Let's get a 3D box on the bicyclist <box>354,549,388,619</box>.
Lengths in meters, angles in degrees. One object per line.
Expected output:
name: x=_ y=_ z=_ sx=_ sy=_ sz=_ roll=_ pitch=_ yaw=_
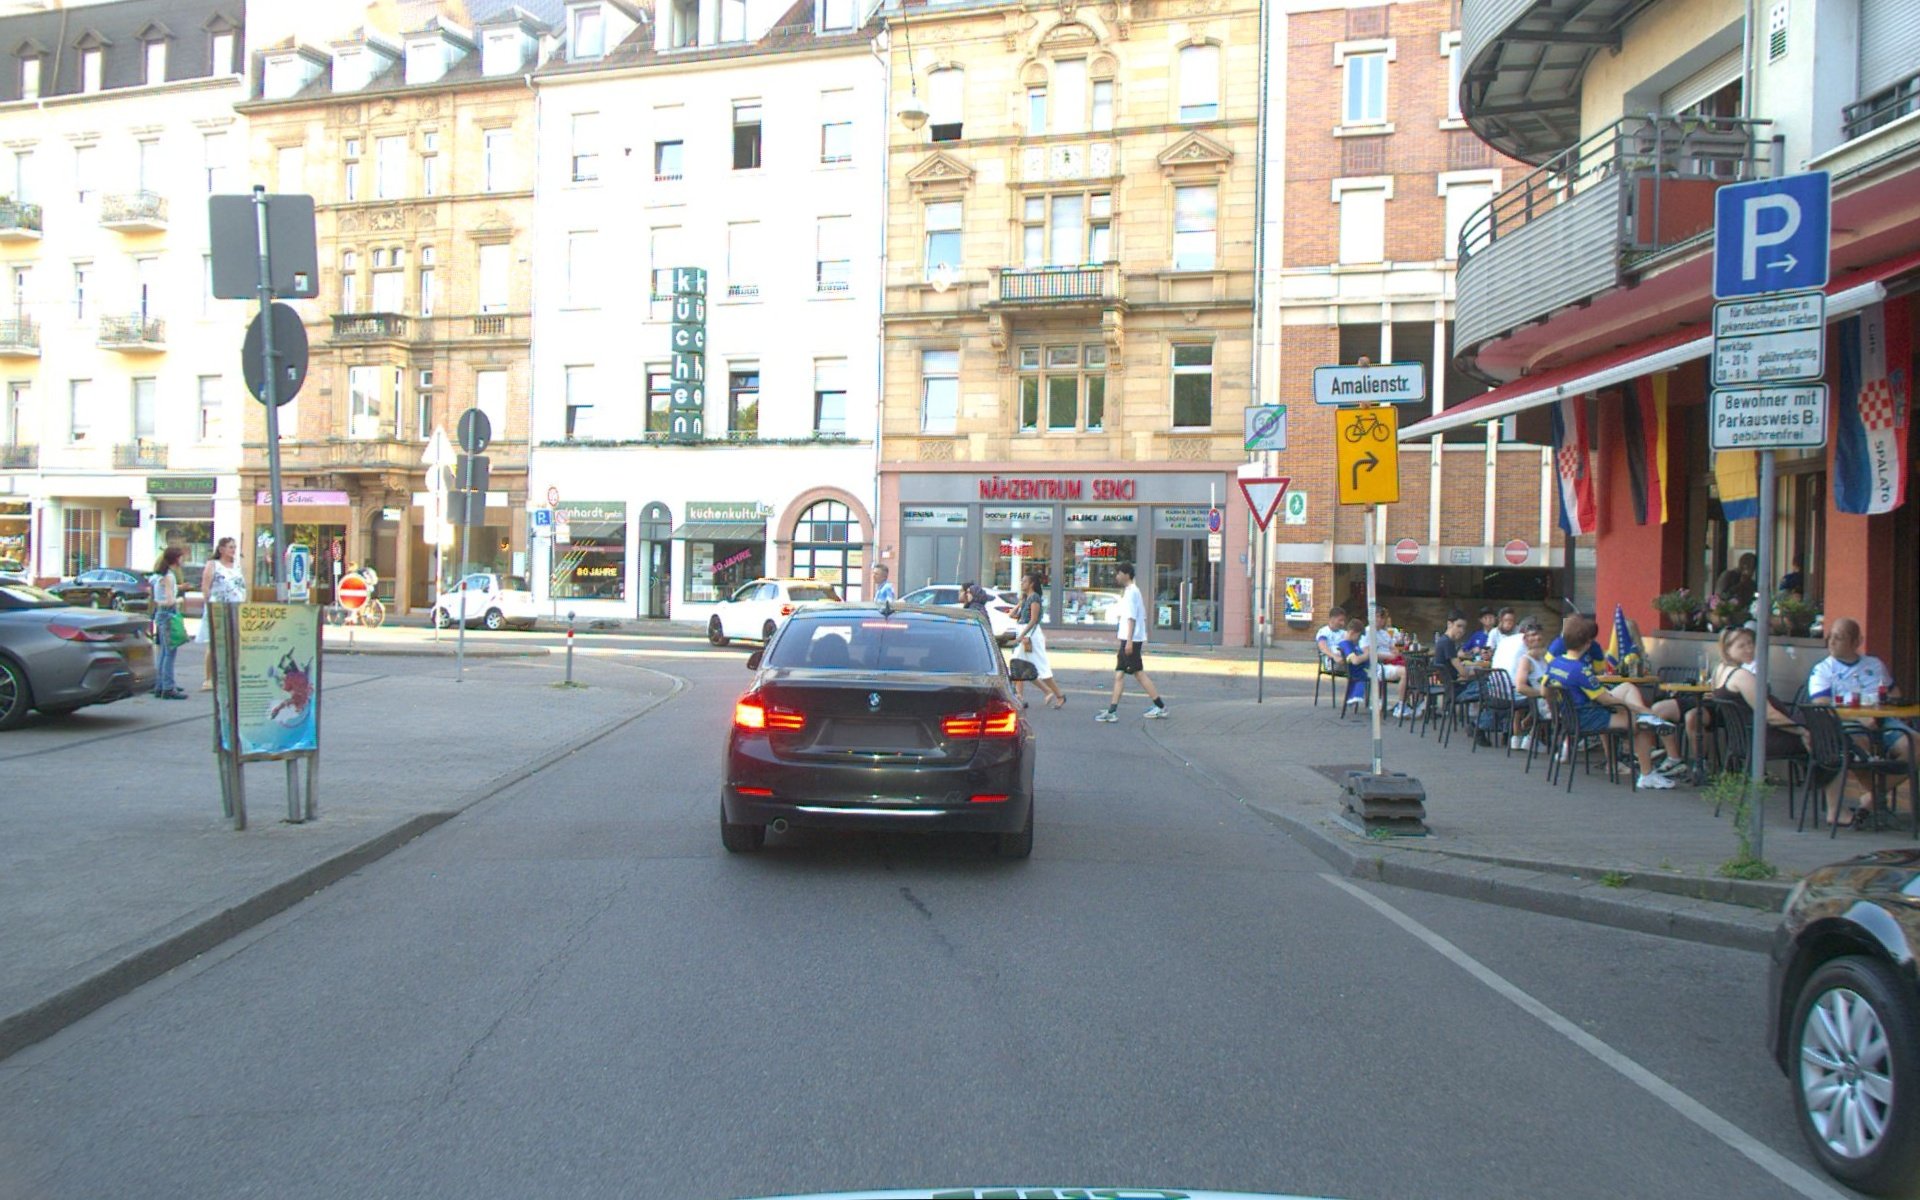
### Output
bicyclist: x=-15.356 y=-0.415 z=43.154 sx=0.604 sy=1.787 sz=0.526 roll=2 pitch=0 yaw=11

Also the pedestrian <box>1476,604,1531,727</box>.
pedestrian: x=5.892 y=0.700 z=17.948 sx=0.479 sy=1.299 sz=0.522 roll=1 pitch=0 yaw=11

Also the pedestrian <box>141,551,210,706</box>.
pedestrian: x=-8.607 y=0.306 z=18.156 sx=0.490 sy=1.672 sz=0.520 roll=1 pitch=0 yaw=-1

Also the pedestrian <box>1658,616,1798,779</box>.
pedestrian: x=6.219 y=0.774 z=13.426 sx=0.763 sy=1.244 sz=0.714 roll=-2 pitch=0 yaw=-3

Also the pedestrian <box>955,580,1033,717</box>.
pedestrian: x=0.388 y=0.561 z=19.310 sx=0.722 sy=1.540 sz=0.648 roll=3 pitch=0 yaw=-11

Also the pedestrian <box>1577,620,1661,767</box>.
pedestrian: x=5.672 y=0.790 z=14.243 sx=0.528 sy=1.222 sz=0.415 roll=-1 pitch=0 yaw=45

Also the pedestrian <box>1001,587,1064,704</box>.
pedestrian: x=0.951 y=0.590 z=21.763 sx=0.798 sy=1.500 sz=0.607 roll=1 pitch=0 yaw=1

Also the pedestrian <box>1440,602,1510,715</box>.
pedestrian: x=6.163 y=0.683 z=19.778 sx=0.606 sy=1.301 sz=0.698 roll=1 pitch=1 yaw=35

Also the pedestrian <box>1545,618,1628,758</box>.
pedestrian: x=5.660 y=0.782 z=14.944 sx=0.415 sy=1.222 sz=0.560 roll=-2 pitch=0 yaw=-44

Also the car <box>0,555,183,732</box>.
car: x=-9.440 y=0.352 z=15.040 sx=3.915 sy=1.527 sz=1.887 roll=1 pitch=1 yaw=-11

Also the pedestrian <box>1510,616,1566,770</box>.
pedestrian: x=4.945 y=0.787 z=14.144 sx=0.337 sy=1.279 sz=0.359 roll=-1 pitch=0 yaw=36

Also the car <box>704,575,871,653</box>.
car: x=-3.664 y=0.247 z=34.582 sx=1.861 sy=1.498 sz=3.954 roll=0 pitch=1 yaw=-34

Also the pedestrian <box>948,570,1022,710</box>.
pedestrian: x=0.295 y=0.471 z=19.977 sx=0.711 sy=1.637 sz=0.648 roll=3 pitch=0 yaw=-11

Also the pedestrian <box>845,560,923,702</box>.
pedestrian: x=-0.975 y=0.391 z=21.297 sx=0.876 sy=1.755 sz=0.608 roll=2 pitch=2 yaw=4

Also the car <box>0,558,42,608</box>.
car: x=-31.532 y=-0.545 z=52.737 sx=3.904 sy=1.537 sz=1.800 roll=1 pitch=0 yaw=20

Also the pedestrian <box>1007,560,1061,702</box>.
pedestrian: x=0.952 y=0.387 z=21.054 sx=0.653 sy=1.776 sz=0.607 roll=1 pitch=0 yaw=3

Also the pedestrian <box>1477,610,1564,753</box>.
pedestrian: x=5.325 y=0.758 z=15.718 sx=0.622 sy=1.298 sz=0.504 roll=-2 pitch=0 yaw=-40

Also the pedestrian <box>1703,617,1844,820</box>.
pedestrian: x=5.407 y=0.769 z=11.022 sx=0.672 sy=1.309 sz=0.609 roll=0 pitch=0 yaw=7

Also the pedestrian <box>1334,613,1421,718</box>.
pedestrian: x=4.843 y=0.747 z=19.212 sx=0.871 sy=1.170 sz=0.619 roll=1 pitch=0 yaw=5

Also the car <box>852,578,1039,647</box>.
car: x=-0.357 y=0.299 z=41.177 sx=4.261 sy=1.589 sz=1.869 roll=1 pitch=0 yaw=20

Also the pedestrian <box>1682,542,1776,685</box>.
pedestrian: x=9.087 y=0.156 z=19.547 sx=0.705 sy=1.635 sz=0.682 roll=2 pitch=0 yaw=-29

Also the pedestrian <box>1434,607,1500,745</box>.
pedestrian: x=5.007 y=0.744 z=16.359 sx=0.481 sy=1.326 sz=0.418 roll=-2 pitch=0 yaw=-3

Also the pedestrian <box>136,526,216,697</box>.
pedestrian: x=-8.920 y=0.124 z=18.834 sx=0.571 sy=1.915 sz=0.634 roll=1 pitch=0 yaw=3

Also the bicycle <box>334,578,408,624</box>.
bicycle: x=-15.351 y=0.024 z=43.140 sx=1.756 sy=1.127 sz=0.538 roll=2 pitch=0 yaw=11

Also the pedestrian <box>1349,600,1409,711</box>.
pedestrian: x=5.063 y=0.660 z=20.004 sx=0.604 sy=1.306 sz=0.660 roll=1 pitch=0 yaw=6

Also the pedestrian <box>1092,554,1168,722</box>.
pedestrian: x=2.002 y=0.439 z=19.394 sx=0.684 sy=1.910 sz=0.678 roll=2 pitch=0 yaw=20

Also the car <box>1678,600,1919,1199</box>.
car: x=3.363 y=0.851 z=3.112 sx=1.730 sy=1.528 sz=4.789 roll=4 pitch=1 yaw=-2

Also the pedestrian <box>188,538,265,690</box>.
pedestrian: x=-8.755 y=0.158 z=19.741 sx=0.652 sy=1.776 sz=0.663 roll=0 pitch=1 yaw=-44

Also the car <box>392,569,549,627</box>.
car: x=-13.732 y=-0.056 z=46.411 sx=3.904 sy=1.537 sz=1.800 roll=1 pitch=0 yaw=20

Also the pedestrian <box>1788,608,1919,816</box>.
pedestrian: x=6.192 y=0.749 z=11.408 sx=0.594 sy=1.371 sz=0.696 roll=0 pitch=0 yaw=-4

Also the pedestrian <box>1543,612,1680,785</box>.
pedestrian: x=5.058 y=0.754 z=12.862 sx=0.841 sy=1.279 sz=0.491 roll=-2 pitch=0 yaw=-3

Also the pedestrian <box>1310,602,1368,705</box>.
pedestrian: x=4.852 y=0.675 z=21.211 sx=0.604 sy=1.276 sz=0.736 roll=1 pitch=0 yaw=3

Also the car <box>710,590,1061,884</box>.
car: x=-0.454 y=0.681 z=10.761 sx=1.729 sy=1.399 sz=4.789 roll=2 pitch=1 yaw=-2

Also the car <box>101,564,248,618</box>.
car: x=-23.793 y=-0.272 z=50.120 sx=3.904 sy=1.537 sz=1.800 roll=1 pitch=0 yaw=20

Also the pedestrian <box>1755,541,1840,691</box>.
pedestrian: x=9.366 y=0.173 z=18.506 sx=0.524 sy=1.635 sz=0.605 roll=2 pitch=0 yaw=-24
